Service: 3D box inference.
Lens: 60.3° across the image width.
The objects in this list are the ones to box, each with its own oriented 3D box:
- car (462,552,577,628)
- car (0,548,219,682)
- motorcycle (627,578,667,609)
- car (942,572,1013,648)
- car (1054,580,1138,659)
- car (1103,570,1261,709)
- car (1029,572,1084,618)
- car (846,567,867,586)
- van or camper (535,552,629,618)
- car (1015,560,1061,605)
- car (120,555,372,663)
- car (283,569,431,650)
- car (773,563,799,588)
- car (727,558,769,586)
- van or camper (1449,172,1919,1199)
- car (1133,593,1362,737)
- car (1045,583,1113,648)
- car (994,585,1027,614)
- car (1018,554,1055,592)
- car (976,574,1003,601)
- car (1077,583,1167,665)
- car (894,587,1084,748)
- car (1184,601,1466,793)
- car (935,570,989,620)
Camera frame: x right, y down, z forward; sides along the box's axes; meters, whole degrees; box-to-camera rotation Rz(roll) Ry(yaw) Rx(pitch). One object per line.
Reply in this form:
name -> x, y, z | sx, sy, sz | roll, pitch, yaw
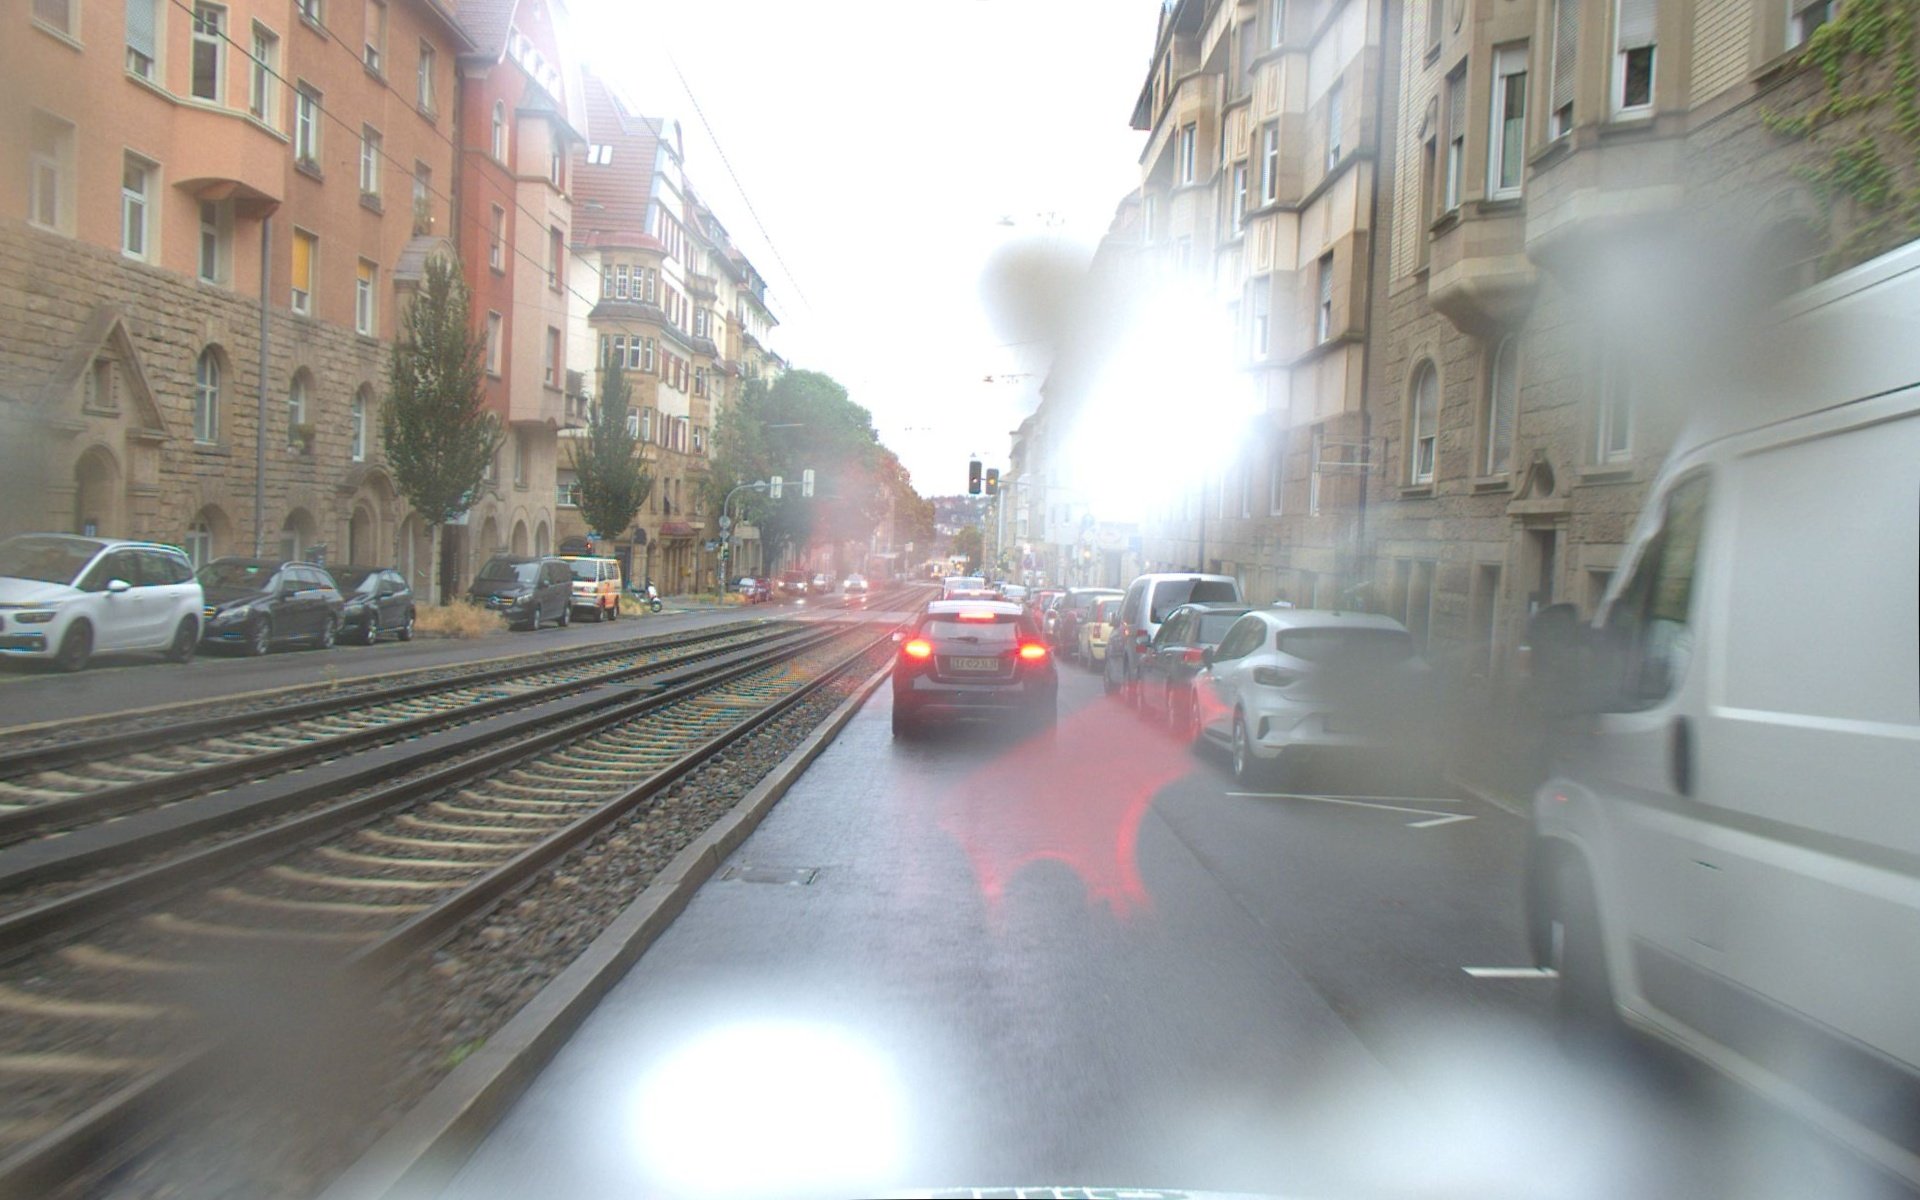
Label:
car -> -11.798, -0.297, 44.625 | 1.953, 1.934, 4.698 | 0, 1, -2
car -> -11.710, 0.148, 21.998 | 1.748, 1.617, 4.351 | 0, 1, 0
motorcycle -> -11.916, -0.247, 62.950 | 1.410, 1.154, 0.619 | 2, 1, 30
car -> 0.394, 0.186, 38.176 | 1.504, 1.536, 4.001 | 2, 2, 0
car -> 3.162, 0.416, 39.015 | 1.675, 1.656, 4.001 | 2, 1, 1
car -> 3.159, 0.493, 24.270 | 1.738, 1.807, 4.361 | 1, 1, 0
car -> 3.235, -0.193, 55.897 | 1.570, 1.443, 3.148 | 1, 1, -1
car -> -8.931, -2.046, 143.415 | 1.760, 1.575, 3.998 | -1, 1, -3
van or camper -> -11.928, -0.486, 52.474 | 1.953, 1.934, 4.698 | 1, 1, -2
car -> 2.857, -0.664, 61.139 | 1.517, 1.534, 4.001 | 2, 1, 0
car -> -11.803, 0.075, 27.782 | 1.953, 1.535, 4.975 | 3, 1, 1
car -> -11.779, 0.134, 32.552 | 1.609, 1.422, 3.882 | 2, 1, -3
car -> -12.332, -1.759, 117.201 | 1.755, 1.721, 3.996 | 1, 1, -6
car -> -11.655, -1.526, 91.199 | 1.735, 1.489, 4.000 | 1, 1, 0
van or camper -> 3.000, 0.377, 3.672 | 2.022, 2.512, 6.119 | 1, 1, 0
car -> 3.259, 0.684, 19.539 | 1.953, 1.466, 4.000 | 1, 1, -1
car -> 3.256, 0.385, 45.673 | 1.604, 1.569, 3.466 | 2, 2, 1
car -> 3.193, -0.033, 104.494 | 1.733, 1.807, 3.997 | 1, 0, -3
car -> 4.261, -1.496, 92.464 | 1.859, 2.063, 4.176 | 1, 0, 0
car -> 2.052, -0.873, 116.436 | 1.814, 1.828, 3.812 | 1, 0, 0
car -> 3.337, 0.459, 34.532 | 1.527, 1.504, 3.461 | 2, 1, 0
car -> 0.263, 0.665, 18.522 | 1.906, 1.592, 3.642 | 1, 1, -1
car -> 3.141, 0.764, 14.991 | 1.642, 1.436, 4.000 | 0, 1, -1
car -> 0.091, -0.221, 61.053 | 1.882, 1.684, 4.001 | 2, 1, 0
